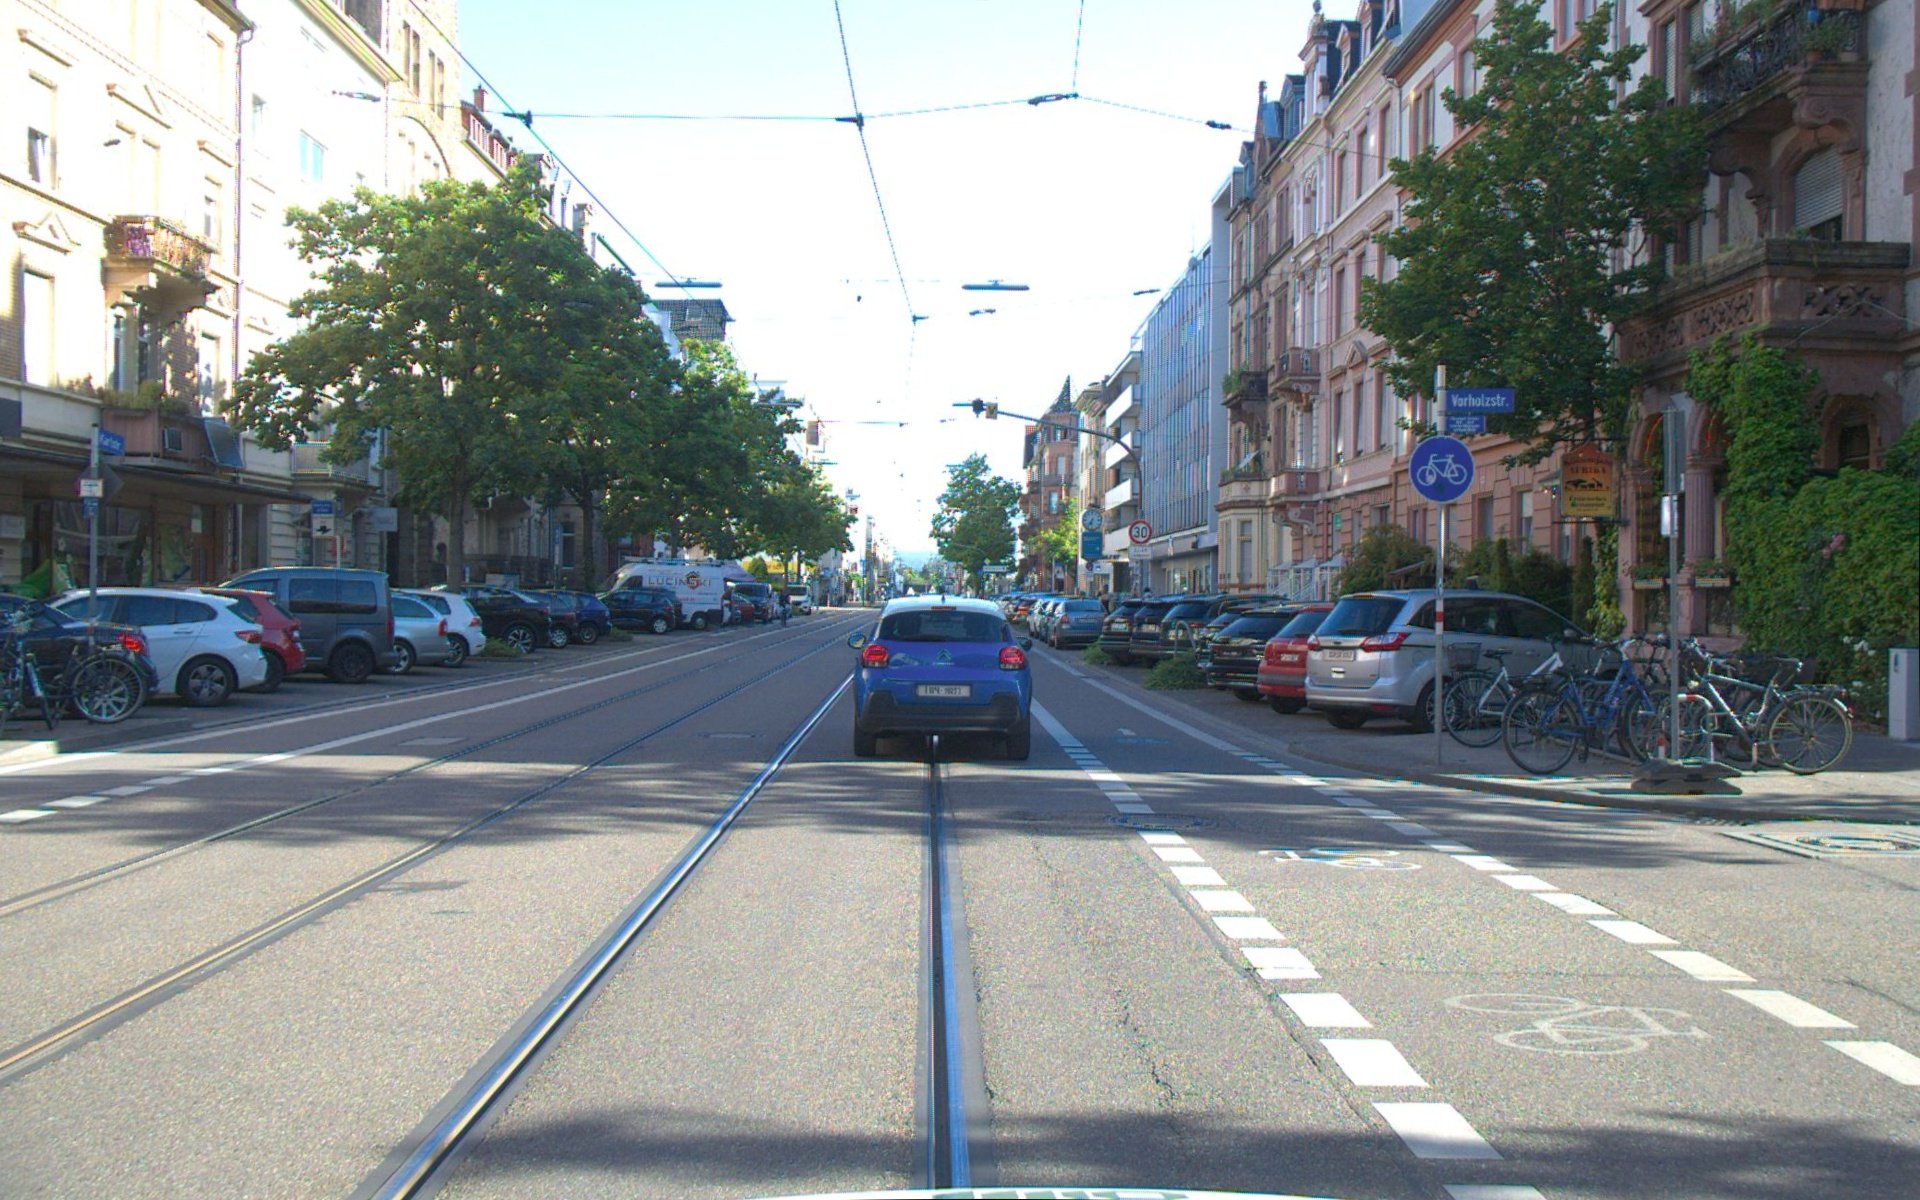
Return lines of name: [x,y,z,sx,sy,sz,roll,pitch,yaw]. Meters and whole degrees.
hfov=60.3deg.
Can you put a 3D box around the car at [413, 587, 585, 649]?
car: [-11.931,0.481,42.892,3.951,1.515,1.785,1,0,-34]

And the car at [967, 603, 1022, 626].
car: [2.476,1.054,118.809,3.601,1.561,1.778,1,0,-21]

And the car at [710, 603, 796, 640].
car: [-9.774,1.003,77.993,3.672,1.651,1.777,1,0,-23]

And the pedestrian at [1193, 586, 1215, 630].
pedestrian: [9.192,0.317,62.312,0.697,1.635,0.654,1,0,-2]

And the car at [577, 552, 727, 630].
car: [-11.670,-0.306,62.793,5.316,2.797,1.787,1,0,-31]

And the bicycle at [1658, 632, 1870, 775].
bicycle: [6.887,0.874,14.211,1.523,1.147,0.552,1,0,5]

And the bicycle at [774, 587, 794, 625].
bicycle: [-8.032,0.284,75.413,0.666,1.708,2.096,1,0,-1]

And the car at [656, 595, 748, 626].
car: [-11.450,0.476,73.475,3.751,1.287,1.503,1,0,-27]

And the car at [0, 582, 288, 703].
car: [-10.673,0.520,20.926,3.746,1.424,1.734,1,0,-34]

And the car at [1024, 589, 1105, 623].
car: [5.354,0.306,84.890,3.686,1.681,2.024,2,0,-34]

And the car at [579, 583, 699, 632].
car: [-11.536,0.278,59.440,3.939,1.646,1.698,1,0,-27]

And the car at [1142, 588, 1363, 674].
car: [5.826,0.615,32.947,3.937,1.624,1.943,1,0,-26]

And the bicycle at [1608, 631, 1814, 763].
bicycle: [6.960,0.888,15.371,1.639,1.147,0.552,1,0,5]

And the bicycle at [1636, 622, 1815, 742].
bicycle: [7.698,0.815,16.663,1.523,1.147,0.552,1,0,5]

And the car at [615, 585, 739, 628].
car: [-11.514,0.264,67.403,4.713,1.646,1.692,1,0,-34]

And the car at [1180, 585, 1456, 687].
car: [6.103,0.619,28.175,4.264,1.624,2.028,1,0,-26]

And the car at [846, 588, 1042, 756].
car: [-0.179,0.651,16.612,1.727,1.466,3.556,1,0,-1]

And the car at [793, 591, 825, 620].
car: [-10.249,0.351,112.326,1.794,1.880,4.213,1,0,-1]

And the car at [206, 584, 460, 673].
car: [-11.147,0.516,29.490,3.970,1.475,1.679,1,0,-34]

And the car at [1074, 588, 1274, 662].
car: [4.988,0.580,38.508,4.249,1.624,1.966,1,0,-26]

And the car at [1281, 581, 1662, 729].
car: [6.180,0.647,19.940,4.297,1.624,1.838,1,0,-26]

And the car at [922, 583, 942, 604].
car: [-2.048,-0.466,120.046,1.394,1.457,3.138,1,0,-1]

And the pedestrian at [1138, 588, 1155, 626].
pedestrian: [8.744,0.330,77.698,0.678,1.786,0.678,1,0,-1]

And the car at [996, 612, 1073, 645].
car: [3.689,1.414,81.690,3.409,1.582,1.804,1,0,-33]

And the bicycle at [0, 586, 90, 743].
bicycle: [-9.045,0.589,15.503,0.668,1.342,2.434,1,2,-5]

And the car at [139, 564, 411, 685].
car: [-10.999,0.391,26.623,3.776,1.816,1.776,2,0,-34]

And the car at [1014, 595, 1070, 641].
car: [3.043,0.645,61.863,1.835,1.624,3.999,1,0,-1]

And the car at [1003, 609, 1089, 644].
car: [4.129,1.271,79.170,3.686,1.547,1.945,1,0,-34]

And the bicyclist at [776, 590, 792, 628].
bicyclist: [-8.024,0.415,75.555,0.621,1.711,0.726,1,0,-1]

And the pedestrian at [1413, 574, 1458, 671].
pedestrian: [8.408,0.386,29.269,0.507,1.677,0.863,1,0,-1]

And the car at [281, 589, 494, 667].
car: [-11.361,0.553,32.843,3.786,1.455,1.751,1,0,-27]

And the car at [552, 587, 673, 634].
car: [-12.061,0.353,57.331,3.924,1.515,1.797,1,0,-18]

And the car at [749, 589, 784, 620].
car: [-10.927,0.241,93.463,1.713,1.646,4.407,1,0,-4]

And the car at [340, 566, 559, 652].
car: [-11.434,0.222,37.152,4.313,1.814,1.973,1,0,-34]

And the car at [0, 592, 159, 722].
car: [-10.746,0.596,17.998,3.431,1.361,1.604,2,0,-36]

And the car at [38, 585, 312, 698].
car: [-11.213,0.553,23.649,3.423,1.499,1.632,0,1,-30]

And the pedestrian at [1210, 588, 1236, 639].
pedestrian: [8.588,0.439,54.030,0.697,1.635,0.654,1,0,-2]

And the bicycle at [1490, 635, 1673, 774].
bicycle: [5.399,0.900,14.406,1.369,1.147,0.551,1,0,-1]

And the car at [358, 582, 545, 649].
car: [-12.198,0.381,39.723,3.951,1.515,1.846,1,0,-34]

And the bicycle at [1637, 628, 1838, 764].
bicycle: [6.935,0.842,14.791,1.523,1.147,0.528,1,0,5]

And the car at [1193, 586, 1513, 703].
car: [5.926,0.664,24.919,4.379,1.624,2.071,1,0,-26]

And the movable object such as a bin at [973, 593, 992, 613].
movable object such as a bin: [1.761,0.267,128.903,1.366,1.509,1.655,1,0,-1]

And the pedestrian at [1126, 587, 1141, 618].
pedestrian: [9.370,0.141,89.434,0.678,1.615,0.678,1,0,-1]

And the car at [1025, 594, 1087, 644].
car: [3.281,0.646,57.081,1.835,1.624,3.999,1,0,-1]

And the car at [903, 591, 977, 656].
car: [-0.530,0.612,44.231,1.835,1.624,3.999,1,0,-1]

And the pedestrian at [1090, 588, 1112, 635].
pedestrian: [4.986,0.389,58.481,0.697,1.635,0.654,1,0,-2]

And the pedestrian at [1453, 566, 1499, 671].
pedestrian: [9.092,0.322,29.172,0.507,1.809,0.863,1,0,-1]

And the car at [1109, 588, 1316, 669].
car: [5.436,0.613,35.613,3.937,1.624,2.070,1,0,-26]

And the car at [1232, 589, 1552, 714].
car: [5.896,0.688,22.564,3.937,1.563,1.903,1,0,-26]

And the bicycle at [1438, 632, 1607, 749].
bicycle: [5.518,0.880,16.254,1.523,1.098,0.307,1,0,5]

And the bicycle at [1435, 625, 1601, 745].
bicycle: [5.588,0.848,16.593,1.527,1.147,0.295,1,0,5]

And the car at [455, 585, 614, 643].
car: [-11.806,0.392,45.932,3.943,1.515,1.789,1,0,-29]

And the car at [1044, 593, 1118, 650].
car: [3.662,0.638,50.642,1.835,1.624,4.718,1,0,-1]
